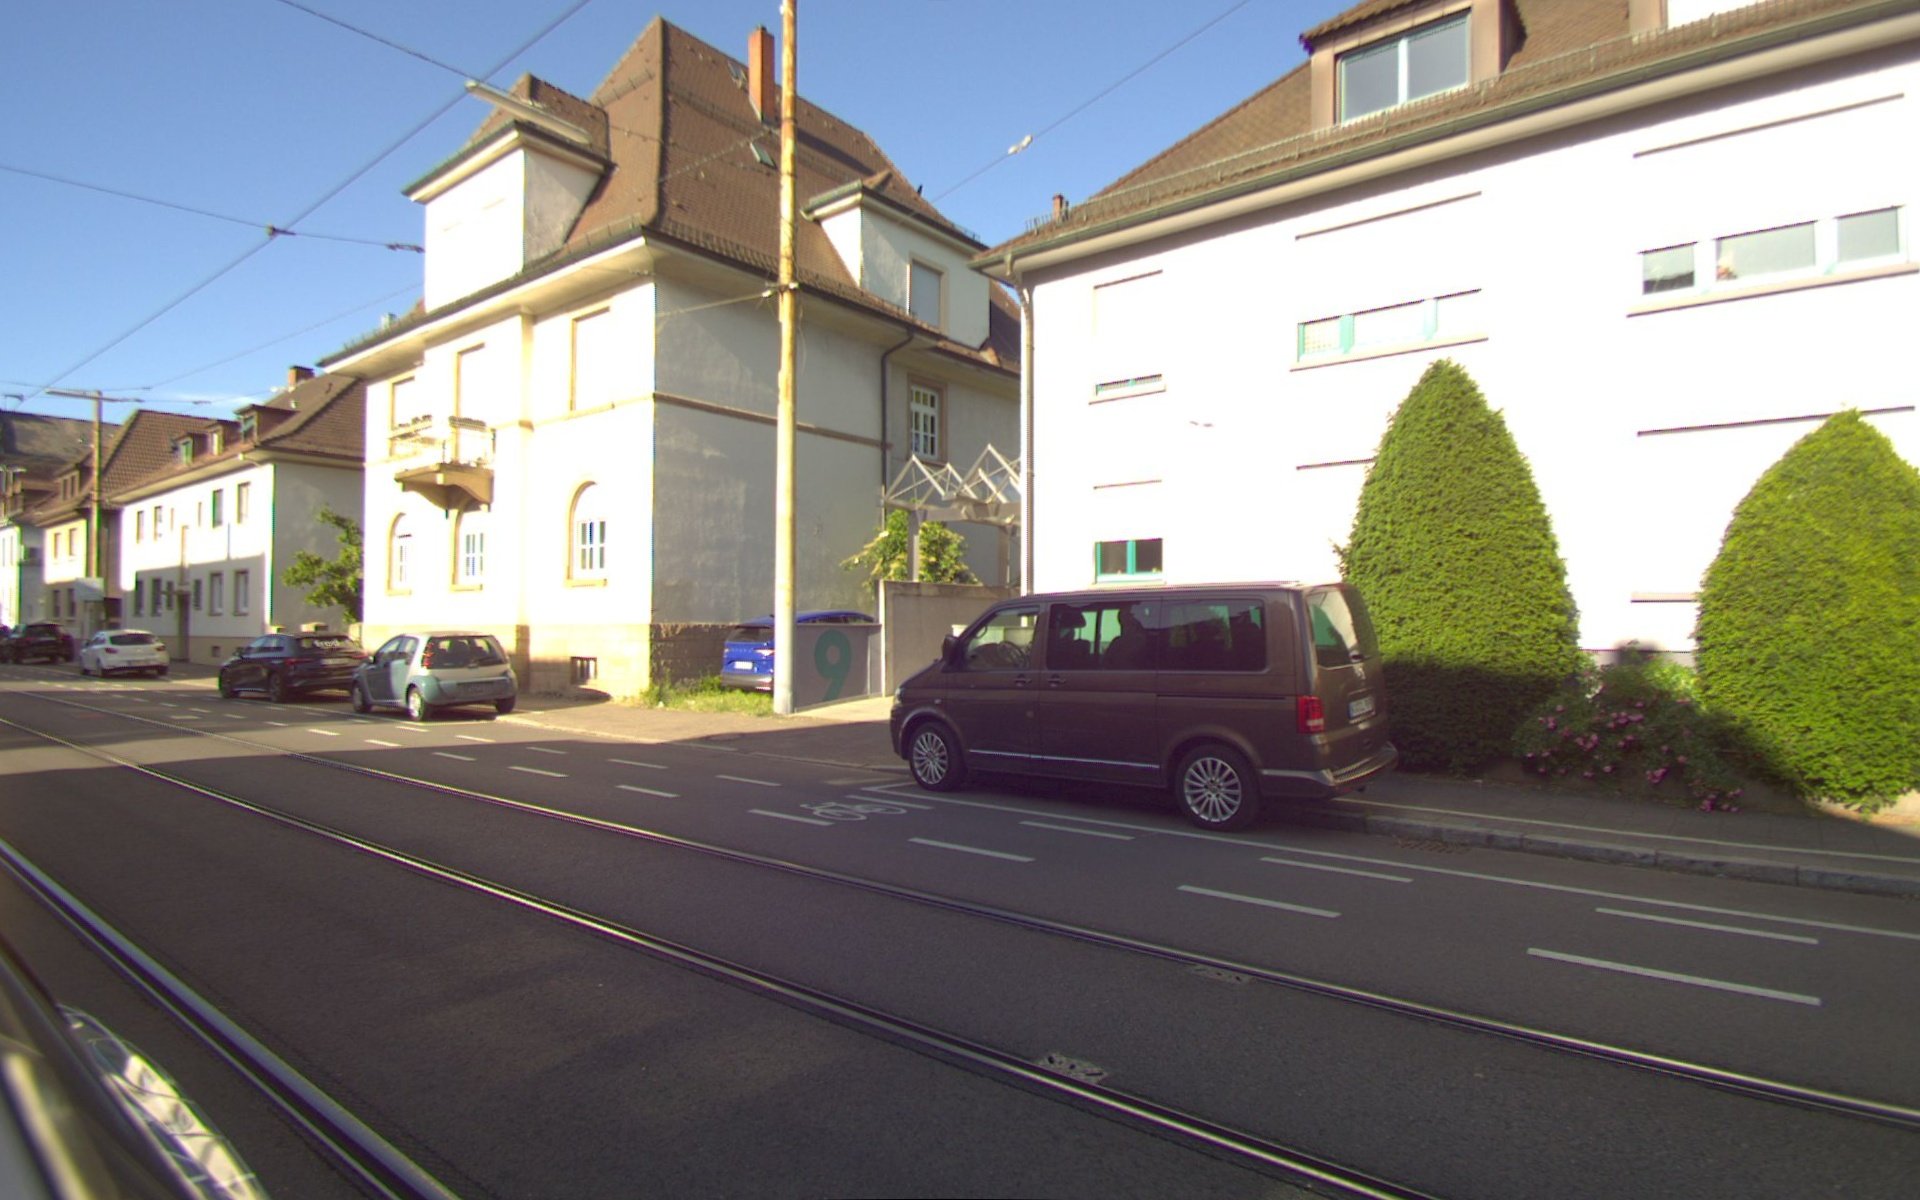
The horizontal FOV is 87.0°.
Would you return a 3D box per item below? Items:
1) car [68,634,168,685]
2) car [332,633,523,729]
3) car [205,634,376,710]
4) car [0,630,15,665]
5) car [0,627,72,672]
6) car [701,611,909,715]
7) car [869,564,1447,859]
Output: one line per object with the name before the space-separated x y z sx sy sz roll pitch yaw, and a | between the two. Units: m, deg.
car | -26.247 1.832 31.499 4.011 1.468 1.615 -1 -4 39
car | -9.582 1.355 18.120 3.831 1.488 1.660 -2 -1 39
car | -14.555 1.488 21.937 4.241 1.488 1.648 -1 -2 35
car | -46.676 2.249 48.361 3.916 1.640 1.600 -1 -3 38
car | -37.753 1.987 41.042 4.549 1.718 1.745 -1 -3 38
car | -2.893 1.168 19.605 1.752 1.797 3.888 -1 -3 37
car | 1.561 0.811 9.330 4.946 2.029 1.886 -2 -1 41
